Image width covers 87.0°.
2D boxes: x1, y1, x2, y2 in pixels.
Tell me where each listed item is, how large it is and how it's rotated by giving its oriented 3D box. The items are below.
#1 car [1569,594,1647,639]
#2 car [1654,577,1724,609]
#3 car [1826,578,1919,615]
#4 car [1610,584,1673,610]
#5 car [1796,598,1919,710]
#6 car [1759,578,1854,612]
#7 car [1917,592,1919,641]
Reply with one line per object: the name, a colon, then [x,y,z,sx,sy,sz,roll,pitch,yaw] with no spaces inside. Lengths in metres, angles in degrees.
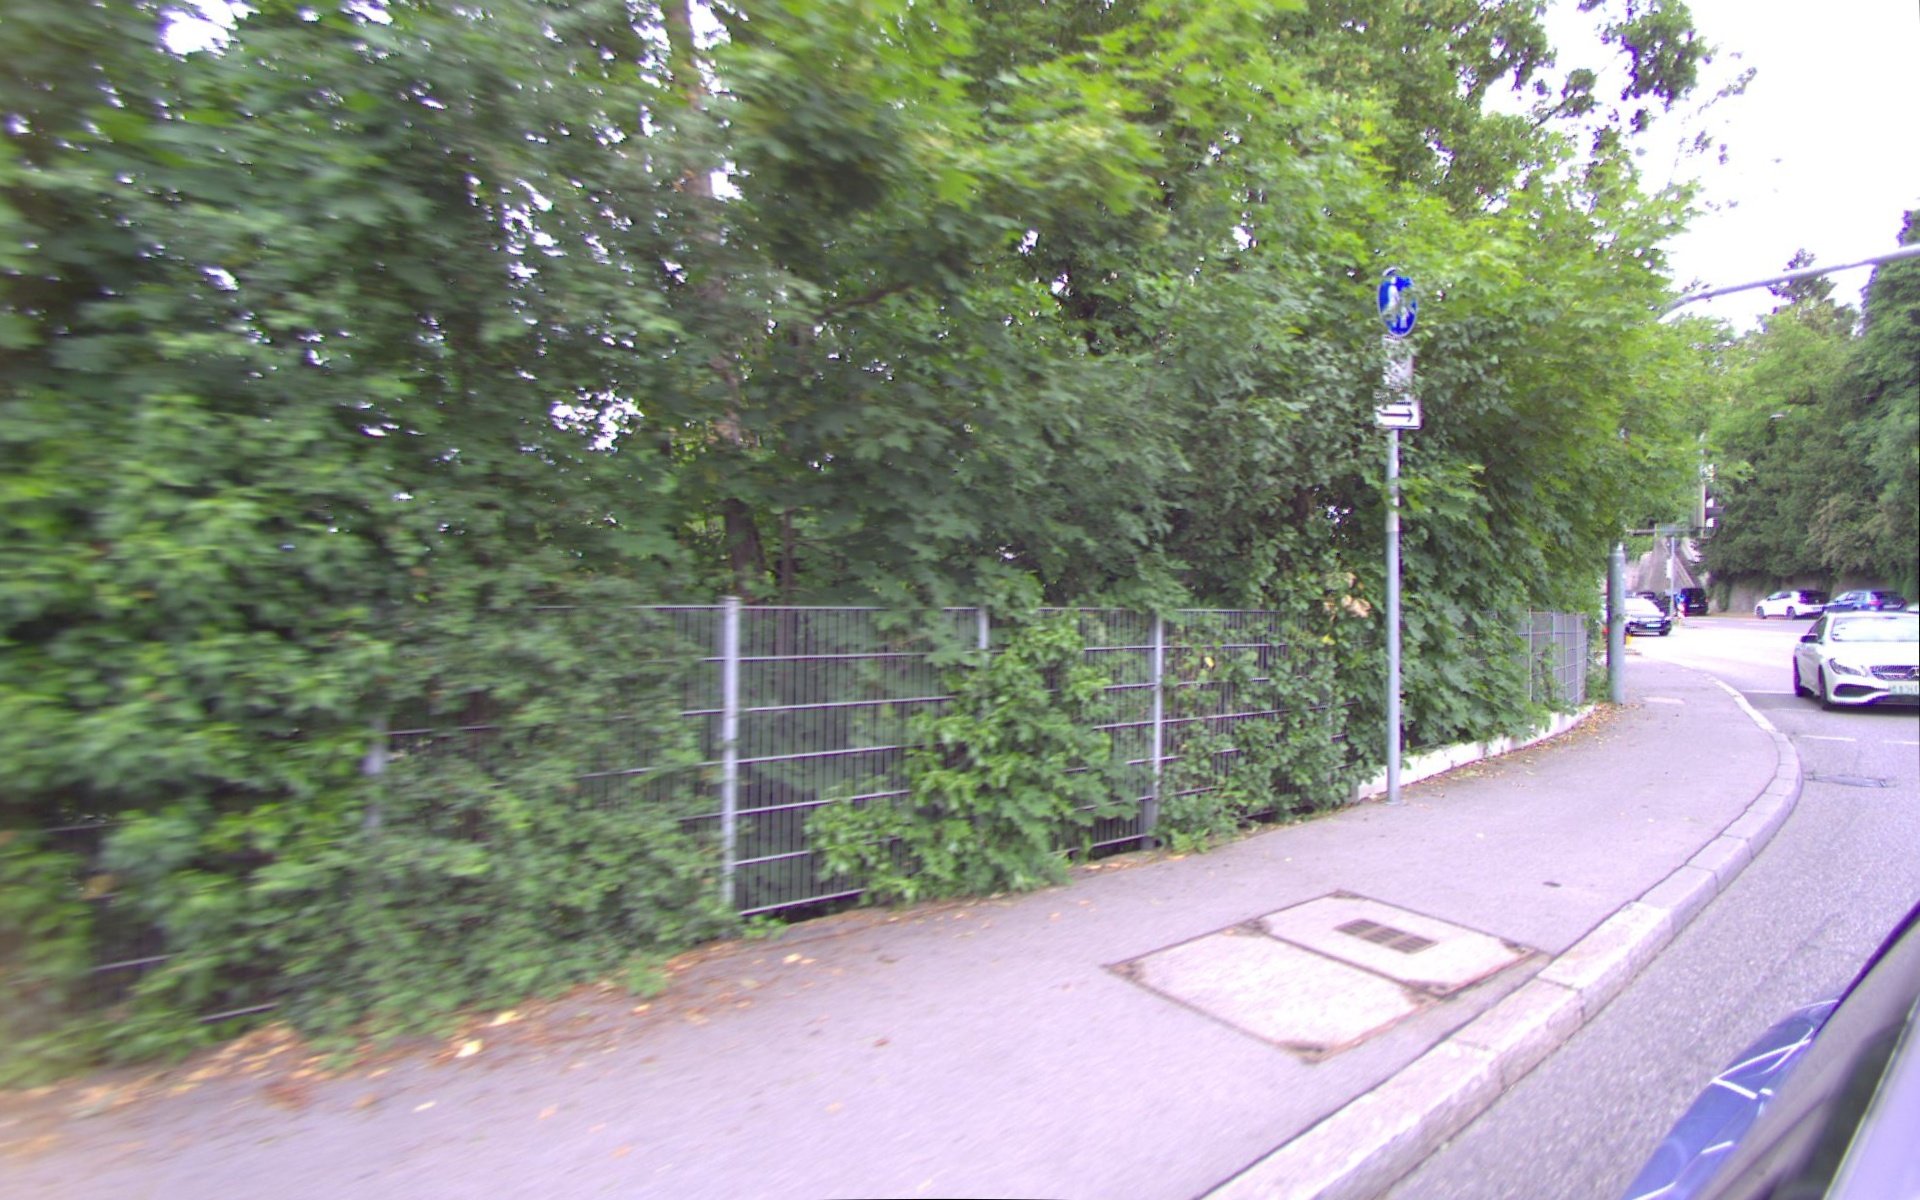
car: [24.575,0.596,38.509,1.759,1.561,3.968,-3,-1,23]
car: [46.465,-0.414,64.616,1.757,1.866,4.474,-3,-1,10]
car: [42.736,-0.148,47.264,1.693,1.548,4.281,-3,-1,15]
car: [47.292,-0.218,70.353,1.944,1.677,4.517,-3,0,11]
car: [13.908,0.724,15.059,1.805,1.417,3.952,-2,-1,34]
car: [43.992,-0.240,52.707,1.756,1.650,4.159,-3,-1,8]
car: [20.303,0.577,19.618,1.905,1.500,4.344,-3,-1,36]
